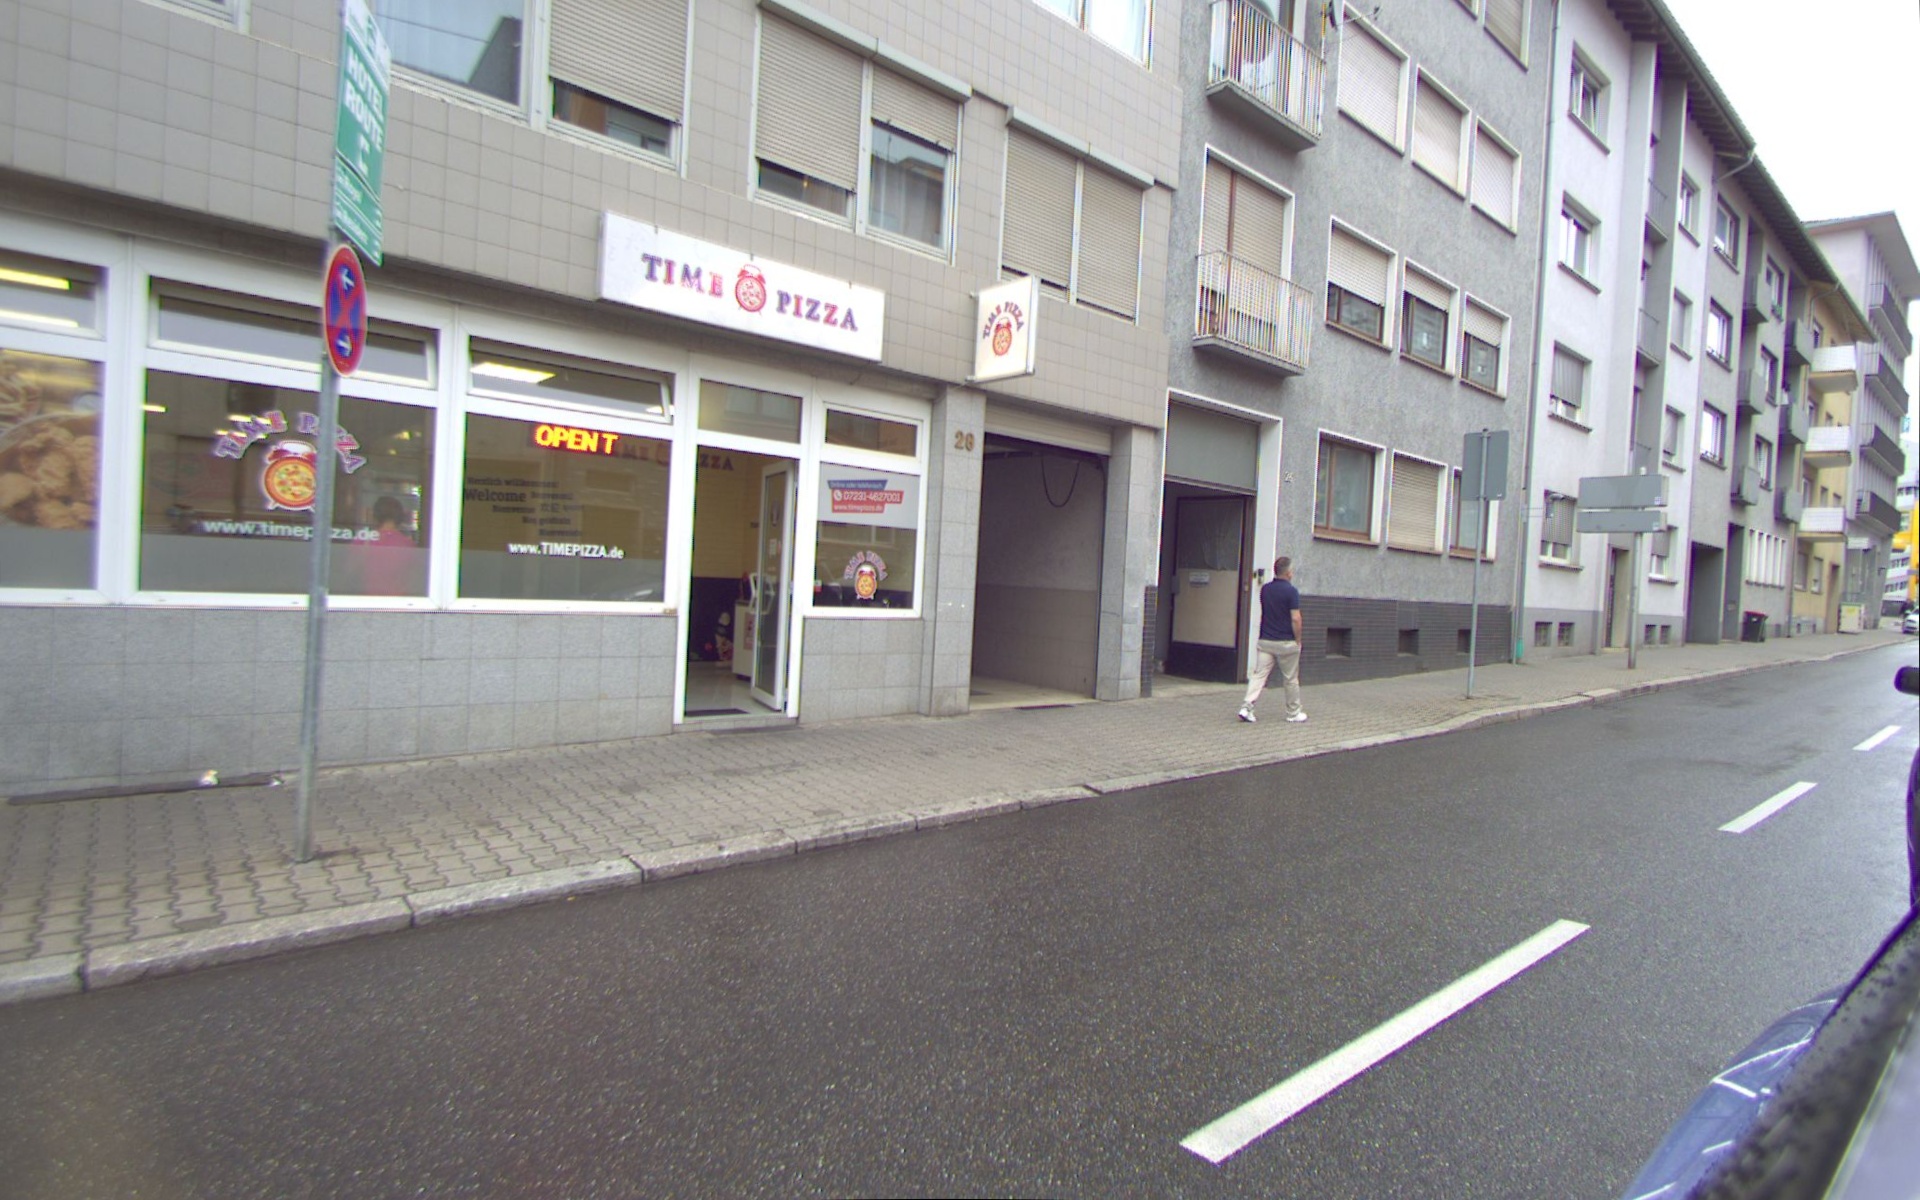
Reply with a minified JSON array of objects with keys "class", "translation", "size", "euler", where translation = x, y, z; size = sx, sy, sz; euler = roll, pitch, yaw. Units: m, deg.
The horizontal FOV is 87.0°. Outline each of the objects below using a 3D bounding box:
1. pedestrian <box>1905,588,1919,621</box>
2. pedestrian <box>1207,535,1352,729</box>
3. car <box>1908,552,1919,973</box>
[{"class":"pedestrian","translation":[52.468,0.262,55.297],"size":[1.117,1.772,0.946],"euler":[4,3,44]},{"class":"pedestrian","translation":[3.388,0.300,10.756],"size":[1.100,1.887,0.871],"euler":[0,6,-41]},{"class":"car","translation":[6.066,0.654,4.926],"size":[4.144,1.743,1.697],"euler":[-1,0,-41]}]
